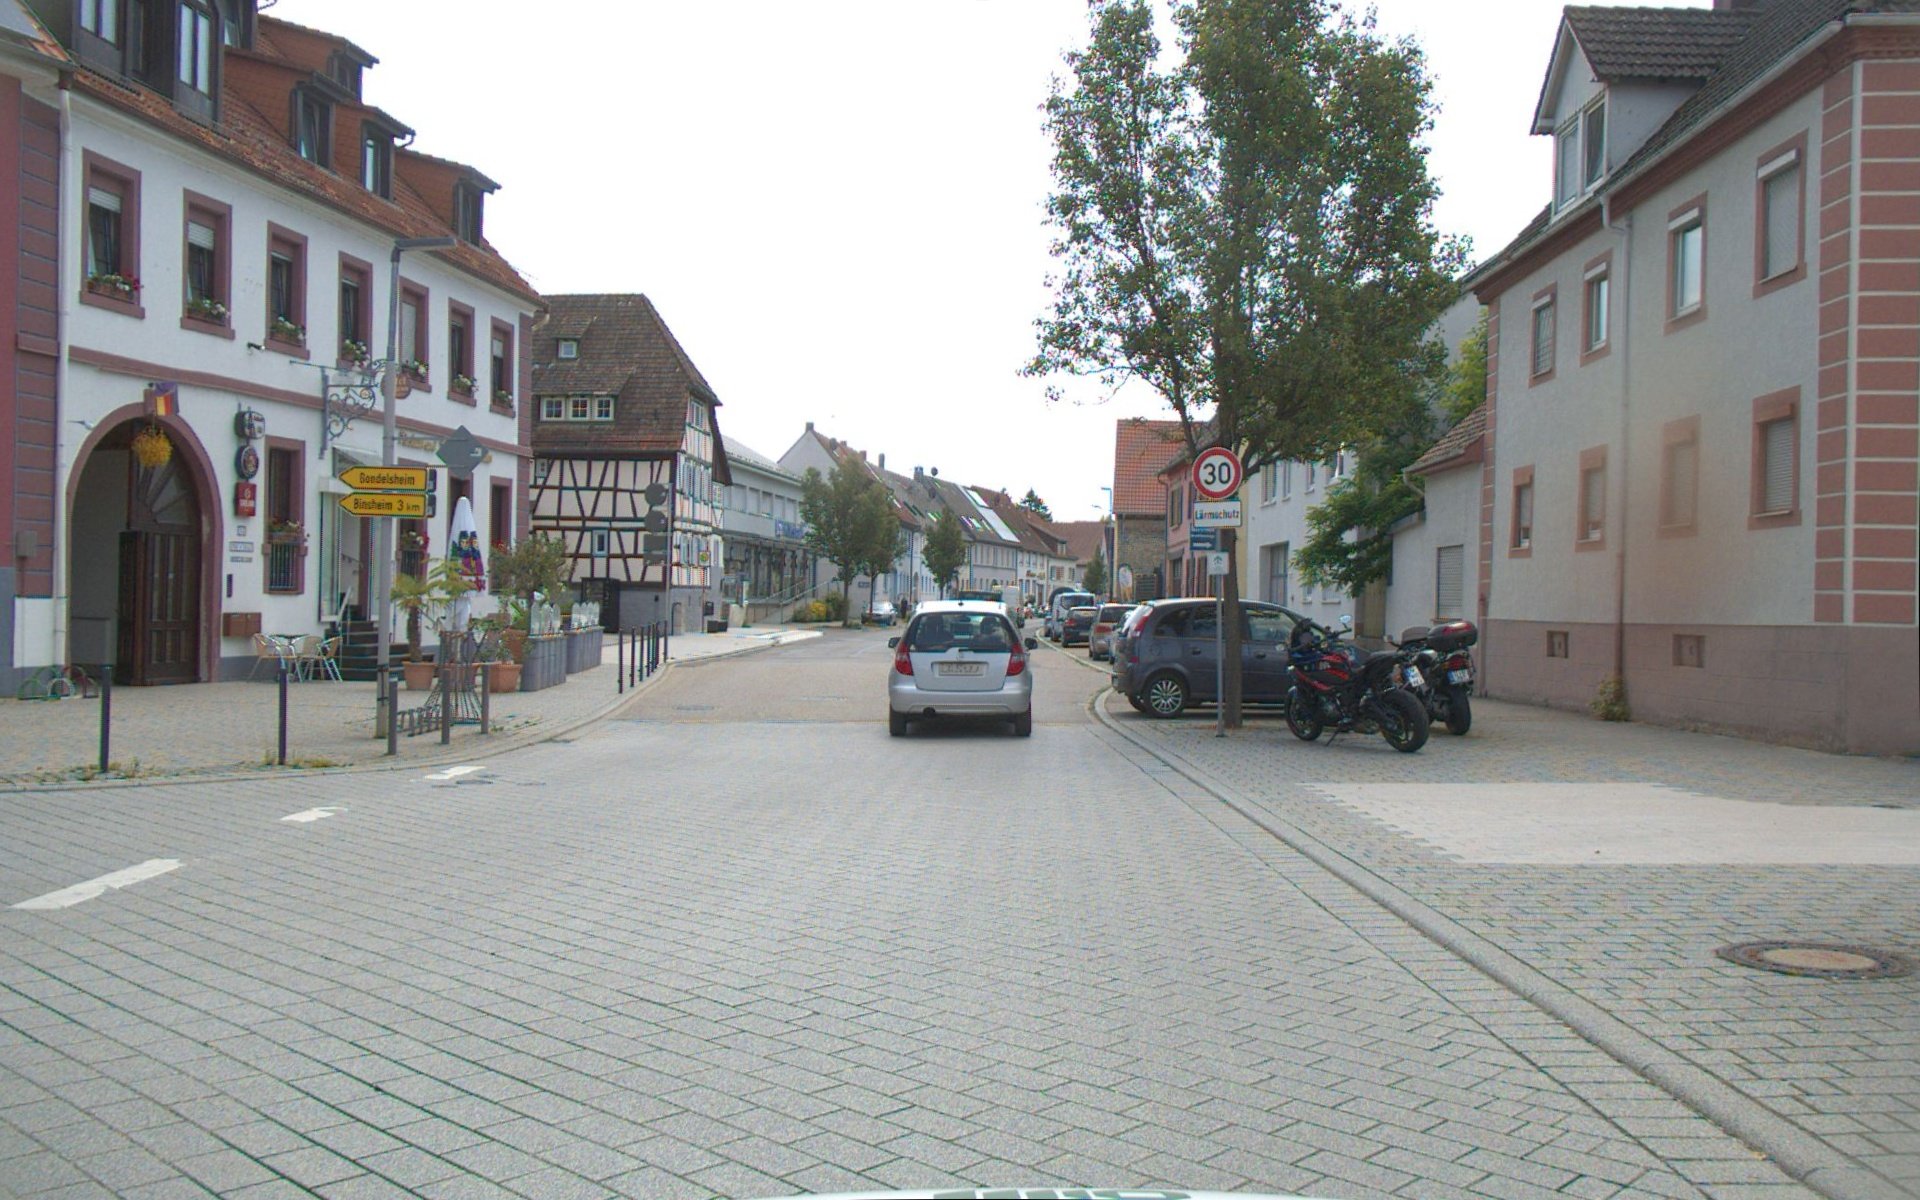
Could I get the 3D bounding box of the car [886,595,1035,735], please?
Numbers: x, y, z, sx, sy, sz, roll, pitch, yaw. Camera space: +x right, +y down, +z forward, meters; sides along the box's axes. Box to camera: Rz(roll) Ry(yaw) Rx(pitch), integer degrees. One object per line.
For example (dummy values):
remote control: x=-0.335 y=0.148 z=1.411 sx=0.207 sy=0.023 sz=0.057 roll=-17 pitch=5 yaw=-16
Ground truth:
car: x=0.049 y=0.760 z=21.170 sx=1.732 sy=1.622 sz=4.000 roll=0 pitch=0 yaw=1

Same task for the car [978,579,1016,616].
car: x=2.343 y=-0.129 z=102.978 sx=2.189 sy=2.261 sz=4.001 roll=0 pitch=-1 yaw=4

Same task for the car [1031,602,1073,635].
car: x=4.446 y=0.863 z=80.434 sx=1.836 sy=1.507 sz=4.675 roll=2 pitch=0 yaw=2

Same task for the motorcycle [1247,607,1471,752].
motorcycle: x=4.219 y=0.798 z=17.598 sx=2.188 sy=1.419 sz=0.866 roll=1 pitch=0 yaw=45

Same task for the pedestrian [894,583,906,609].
pedestrian: x=-4.158 y=-0.275 z=114.823 sx=0.723 sy=1.833 sz=0.643 roll=0 pitch=-1 yaw=3

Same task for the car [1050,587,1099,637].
car: x=4.874 y=0.493 z=70.939 sx=1.853 sy=2.017 sz=4.932 roll=-1 pitch=0 yaw=2

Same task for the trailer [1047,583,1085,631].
trailer: x=5.467 y=0.358 z=85.638 sx=1.807 sy=2.395 sz=3.590 roll=0 pitch=0 yaw=1

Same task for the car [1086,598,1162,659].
car: x=4.869 y=0.814 z=49.543 sx=1.952 sy=1.710 sz=4.324 roll=1 pitch=0 yaw=2

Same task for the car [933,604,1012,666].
car: x=0.335 y=0.867 z=42.511 sx=1.905 sy=1.432 sz=4.000 roll=1 pitch=0 yaw=1

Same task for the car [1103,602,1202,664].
car: x=5.095 y=0.845 z=44.333 sx=1.953 sy=1.544 sz=4.369 roll=1 pitch=0 yaw=-2

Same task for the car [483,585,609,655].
car: x=-10.310 y=0.470 z=41.543 sx=1.722 sy=1.518 sz=4.278 roll=5 pitch=0 yaw=4

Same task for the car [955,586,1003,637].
car: x=0.815 y=0.479 z=67.658 sx=1.732 sy=1.920 sz=4.448 roll=4 pitch=0 yaw=3

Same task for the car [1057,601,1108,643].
car: x=4.649 y=0.818 z=63.021 sx=1.738 sy=1.521 sz=4.162 roll=1 pitch=0 yaw=2

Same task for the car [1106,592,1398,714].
car: x=4.058 y=0.721 z=23.424 sx=3.771 sy=1.605 sz=1.850 roll=-1 pitch=0 yaw=-2

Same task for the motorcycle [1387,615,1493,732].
motorcycle: x=5.764 y=0.855 z=20.003 sx=0.939 sy=1.321 sz=2.227 roll=-1 pitch=0 yaw=9

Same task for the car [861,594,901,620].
car: x=-4.671 y=0.416 z=98.405 sx=1.766 sy=1.486 sz=4.160 roll=2 pitch=0 yaw=5
